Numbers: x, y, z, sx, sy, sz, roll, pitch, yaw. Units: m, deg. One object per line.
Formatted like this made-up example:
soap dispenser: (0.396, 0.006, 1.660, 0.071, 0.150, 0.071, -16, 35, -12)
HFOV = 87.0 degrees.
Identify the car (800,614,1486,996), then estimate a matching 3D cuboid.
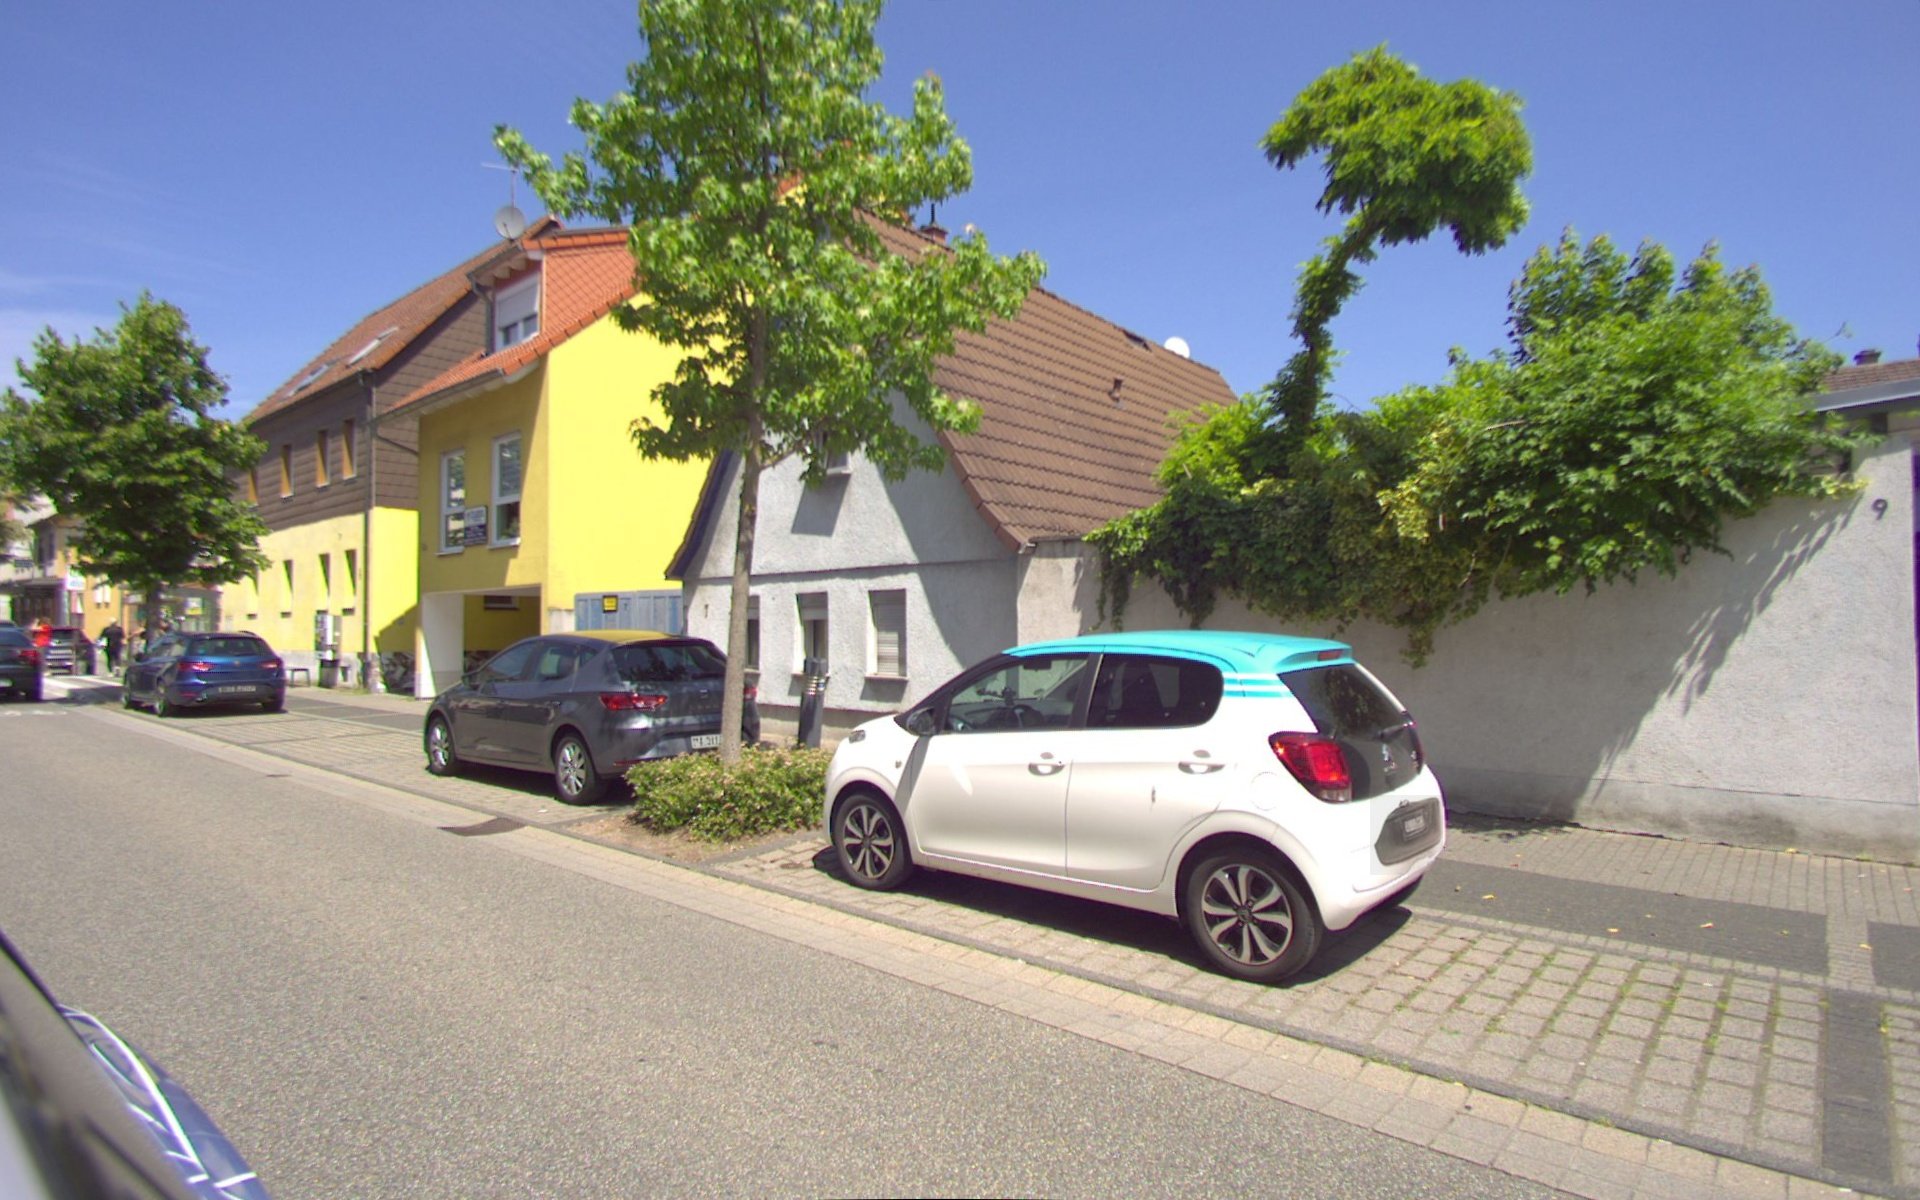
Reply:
car: (0.817, 0.831, 5.553, 3.408, 1.441, 1.537, -2, -3, 41)

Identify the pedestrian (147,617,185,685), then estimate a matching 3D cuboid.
pedestrian: (-19.311, 1.235, 24.623, 0.528, 1.614, 0.623, -2, -2, 41)

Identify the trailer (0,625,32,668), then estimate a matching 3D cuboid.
trailer: (-37.475, 1.814, 39.334, 3.879, 1.593, 1.475, -2, 0, 39)

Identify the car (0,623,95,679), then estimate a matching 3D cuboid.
car: (-27.942, 1.527, 30.931, 4.156, 1.587, 1.730, -2, -2, 41)

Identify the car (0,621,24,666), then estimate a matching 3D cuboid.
car: (-40.576, 1.820, 42.254, 3.996, 1.765, 1.674, -2, 0, 39)

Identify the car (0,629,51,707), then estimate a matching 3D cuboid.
car: (-19.769, 1.319, 20.354, 3.997, 1.484, 1.671, -2, -3, 41)

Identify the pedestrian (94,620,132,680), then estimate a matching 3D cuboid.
pedestrian: (-23.360, 1.369, 27.913, 0.770, 1.614, 0.655, -2, -2, 41)

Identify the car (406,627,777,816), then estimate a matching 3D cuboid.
car: (-3.719, 0.999, 9.832, 4.097, 1.441, 1.628, -2, -1, 41)

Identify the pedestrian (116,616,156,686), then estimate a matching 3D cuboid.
pedestrian: (-19.378, 1.191, 23.805, 0.528, 1.614, 0.623, -2, -2, 41)

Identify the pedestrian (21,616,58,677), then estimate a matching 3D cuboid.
pedestrian: (-25.567, 1.300, 28.112, 0.624, 1.668, 0.635, -2, -3, 41)

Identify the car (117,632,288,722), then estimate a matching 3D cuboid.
car: (-13.634, 1.286, 18.136, 4.156, 1.418, 1.639, -2, -2, 41)
